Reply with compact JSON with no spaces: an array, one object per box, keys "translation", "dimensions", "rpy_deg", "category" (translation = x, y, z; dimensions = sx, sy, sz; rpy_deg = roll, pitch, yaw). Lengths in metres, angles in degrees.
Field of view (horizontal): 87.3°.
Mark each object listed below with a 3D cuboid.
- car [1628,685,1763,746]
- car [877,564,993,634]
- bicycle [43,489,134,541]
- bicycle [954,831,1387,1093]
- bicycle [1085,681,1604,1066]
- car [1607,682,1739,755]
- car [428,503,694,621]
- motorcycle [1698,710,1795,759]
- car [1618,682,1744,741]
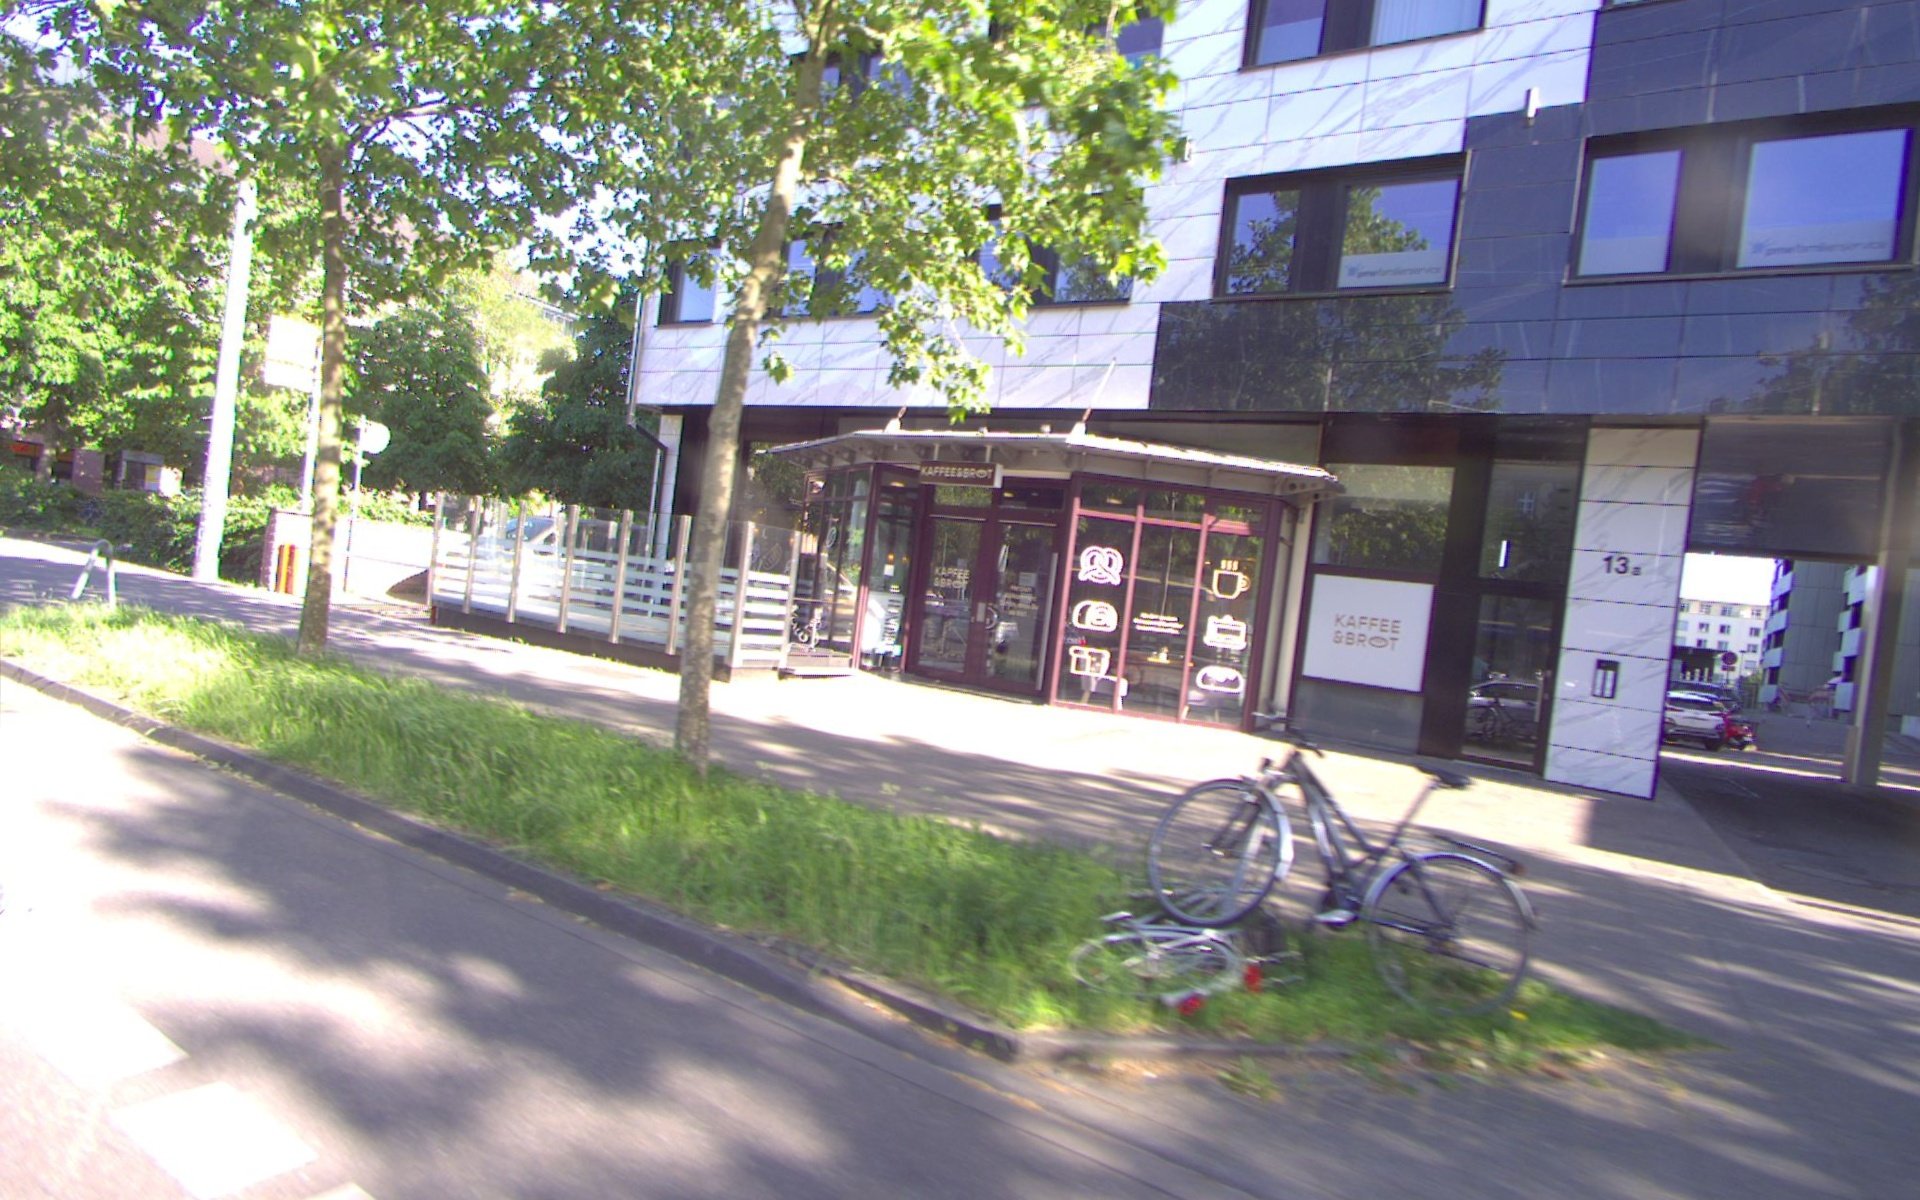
[{"translation":[25.891,4.033,35.562],"dimensions":[3.553,1.562,1.551],"rpy_deg":[7,1,32],"category":"car"},{"translation":[-0.674,0.006,29.806],"dimensions":[1.568,1.692,3.613],"rpy_deg":[7,0,32],"category":"car"},{"translation":[-26.853,-2.601,31.034],"dimensions":[0.565,1.331,1.996],"rpy_deg":[7,2,34],"category":"bicycle"},{"translation":[0.985,1.439,4.380],"dimensions":[1.366,0.357,1.610],"rpy_deg":[7,0,32],"category":"bicycle"},{"translation":[1.578,1.066,4.379],"dimensions":[1.812,1.147,0.790],"rpy_deg":[7,1,19],"category":"bicycle"},{"translation":[21.765,3.566,30.924],"dimensions":[1.906,1.638,4.001],"rpy_deg":[7,0,16],"category":"car"},{"translation":[-8.115,-0.701,20.969],"dimensions":[1.881,2.011,4.898],"rpy_deg":[7,2,31],"category":"car"},{"translation":[24.257,4.142,31.115],"dimensions":[1.074,1.079,2.539],"rpy_deg":[7,0,6],"category":"motorcycle"},{"translation":[26.851,4.125,37.605],"dimensions":[3.553,1.562,1.551],"rpy_deg":[7,1,32],"category":"car"}]
